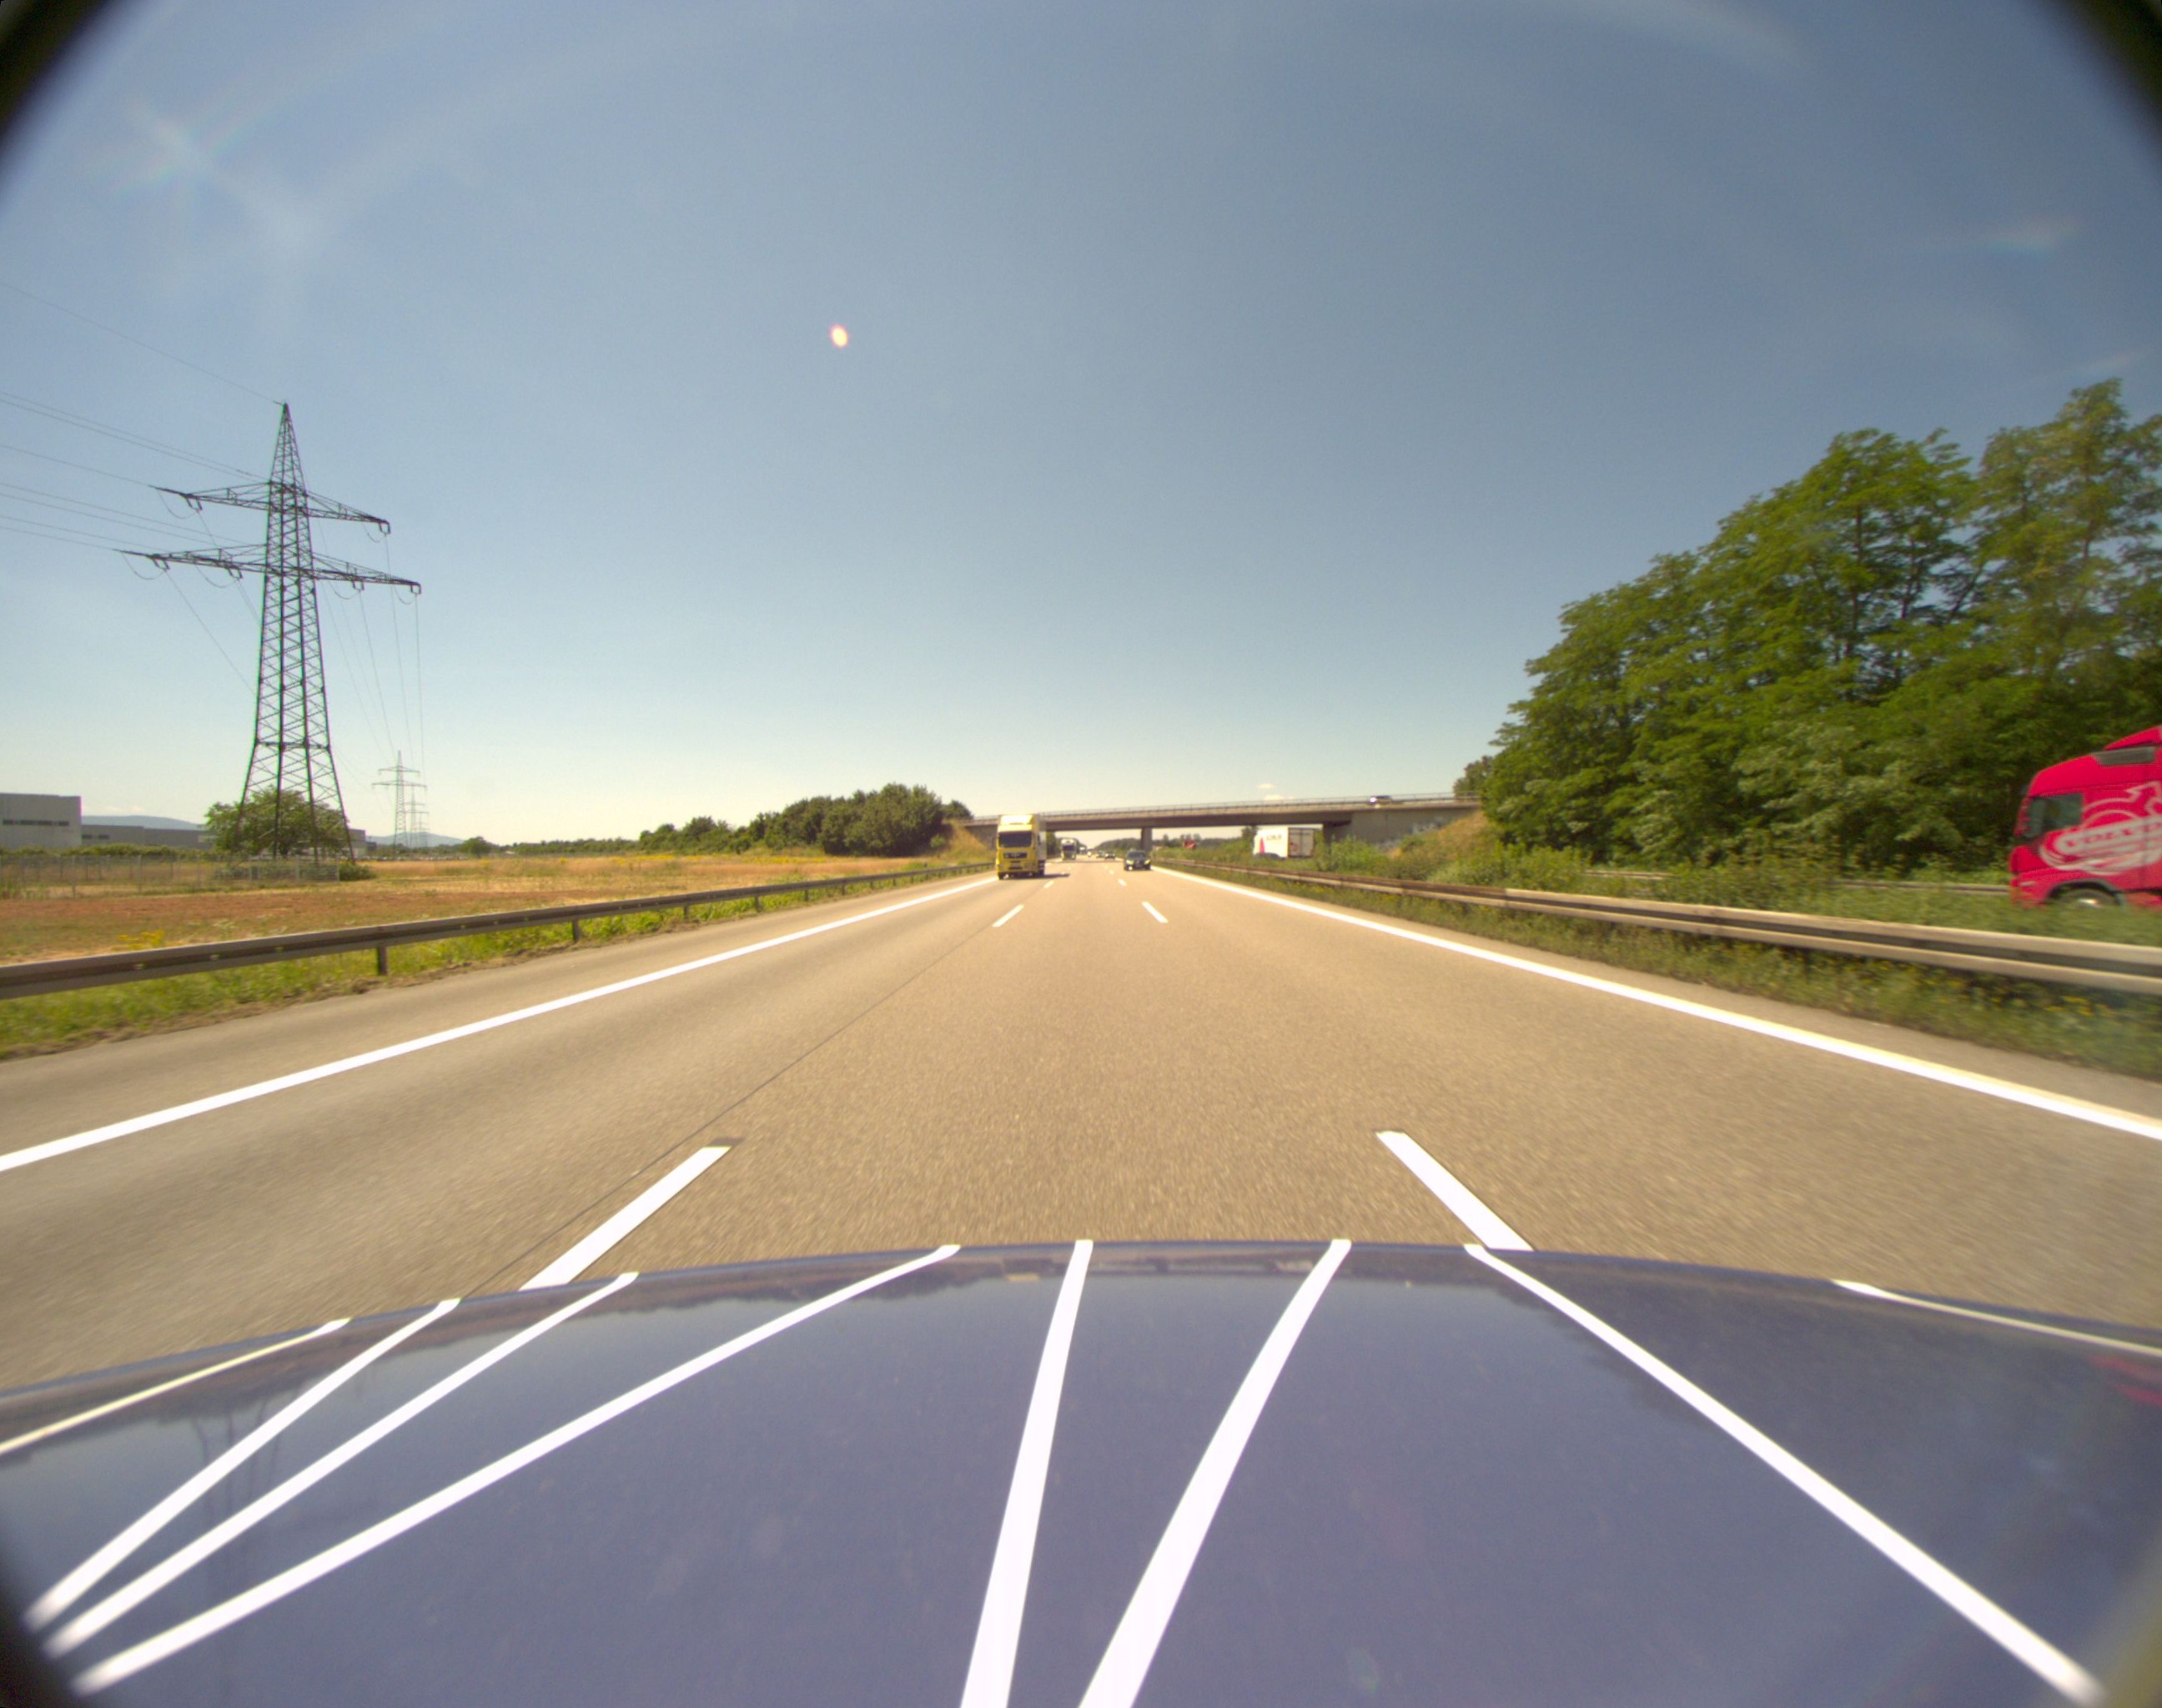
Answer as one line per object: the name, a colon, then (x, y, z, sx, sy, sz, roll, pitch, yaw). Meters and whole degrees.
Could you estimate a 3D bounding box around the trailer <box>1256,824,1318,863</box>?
trailer: (21.532, -1.066, 80.431, 2.833, 3.688, 13.927, -2, 0, 1)

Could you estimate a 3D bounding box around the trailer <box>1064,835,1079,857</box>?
trailer: (-1.772, -1.540, 153.078, 2.476, 4.038, 13.880, -2, 0, 1)

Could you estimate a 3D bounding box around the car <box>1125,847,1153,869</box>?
car: (4.313, 0.277, 57.003, 1.811, 1.459, 4.000, -2, 0, 1)

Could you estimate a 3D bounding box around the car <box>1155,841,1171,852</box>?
car: (14.692, -1.319, 136.864, 2.097, 1.770, 5.460, -2, 0, -2)

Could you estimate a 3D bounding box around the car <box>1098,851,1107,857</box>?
car: (4.913, 0.023, 172.795, 1.811, 1.417, 4.000, -2, 0, 1)

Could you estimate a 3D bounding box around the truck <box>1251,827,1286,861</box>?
truck: (21.669, -1.127, 87.916, 2.802, 3.700, 5.117, -2, 1, 2)

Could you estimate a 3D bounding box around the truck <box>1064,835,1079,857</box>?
truck: (-1.861, -1.506, 146.647, 2.476, 4.038, 6.320, -2, 0, 1)

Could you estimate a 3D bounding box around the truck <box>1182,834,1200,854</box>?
truck: (22.414, -2.001, 154.547, 2.618, 3.875, 6.499, -2, 0, 1)

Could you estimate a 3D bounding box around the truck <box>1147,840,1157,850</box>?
truck: (24.625, -3.149, 263.716, 2.884, 3.477, 10.735, -2, 0, 2)

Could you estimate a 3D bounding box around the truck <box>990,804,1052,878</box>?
truck: (-3.685, -0.783, 49.764, 2.941, 4.175, 10.680, -2, 0, 1)

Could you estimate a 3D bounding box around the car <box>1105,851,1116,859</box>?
car: (5.175, 0.154, 134.476, 1.811, 1.417, 4.000, -2, 0, 1)

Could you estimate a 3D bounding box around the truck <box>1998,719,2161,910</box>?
truck: (20.635, -0.757, 13.433, 2.604, 3.402, 5.116, -2, 0, 0)

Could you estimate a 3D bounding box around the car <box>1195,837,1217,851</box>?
car: (17.725, -1.383, 108.003, 2.308, 1.770, 5.423, -2, 0, 0)
